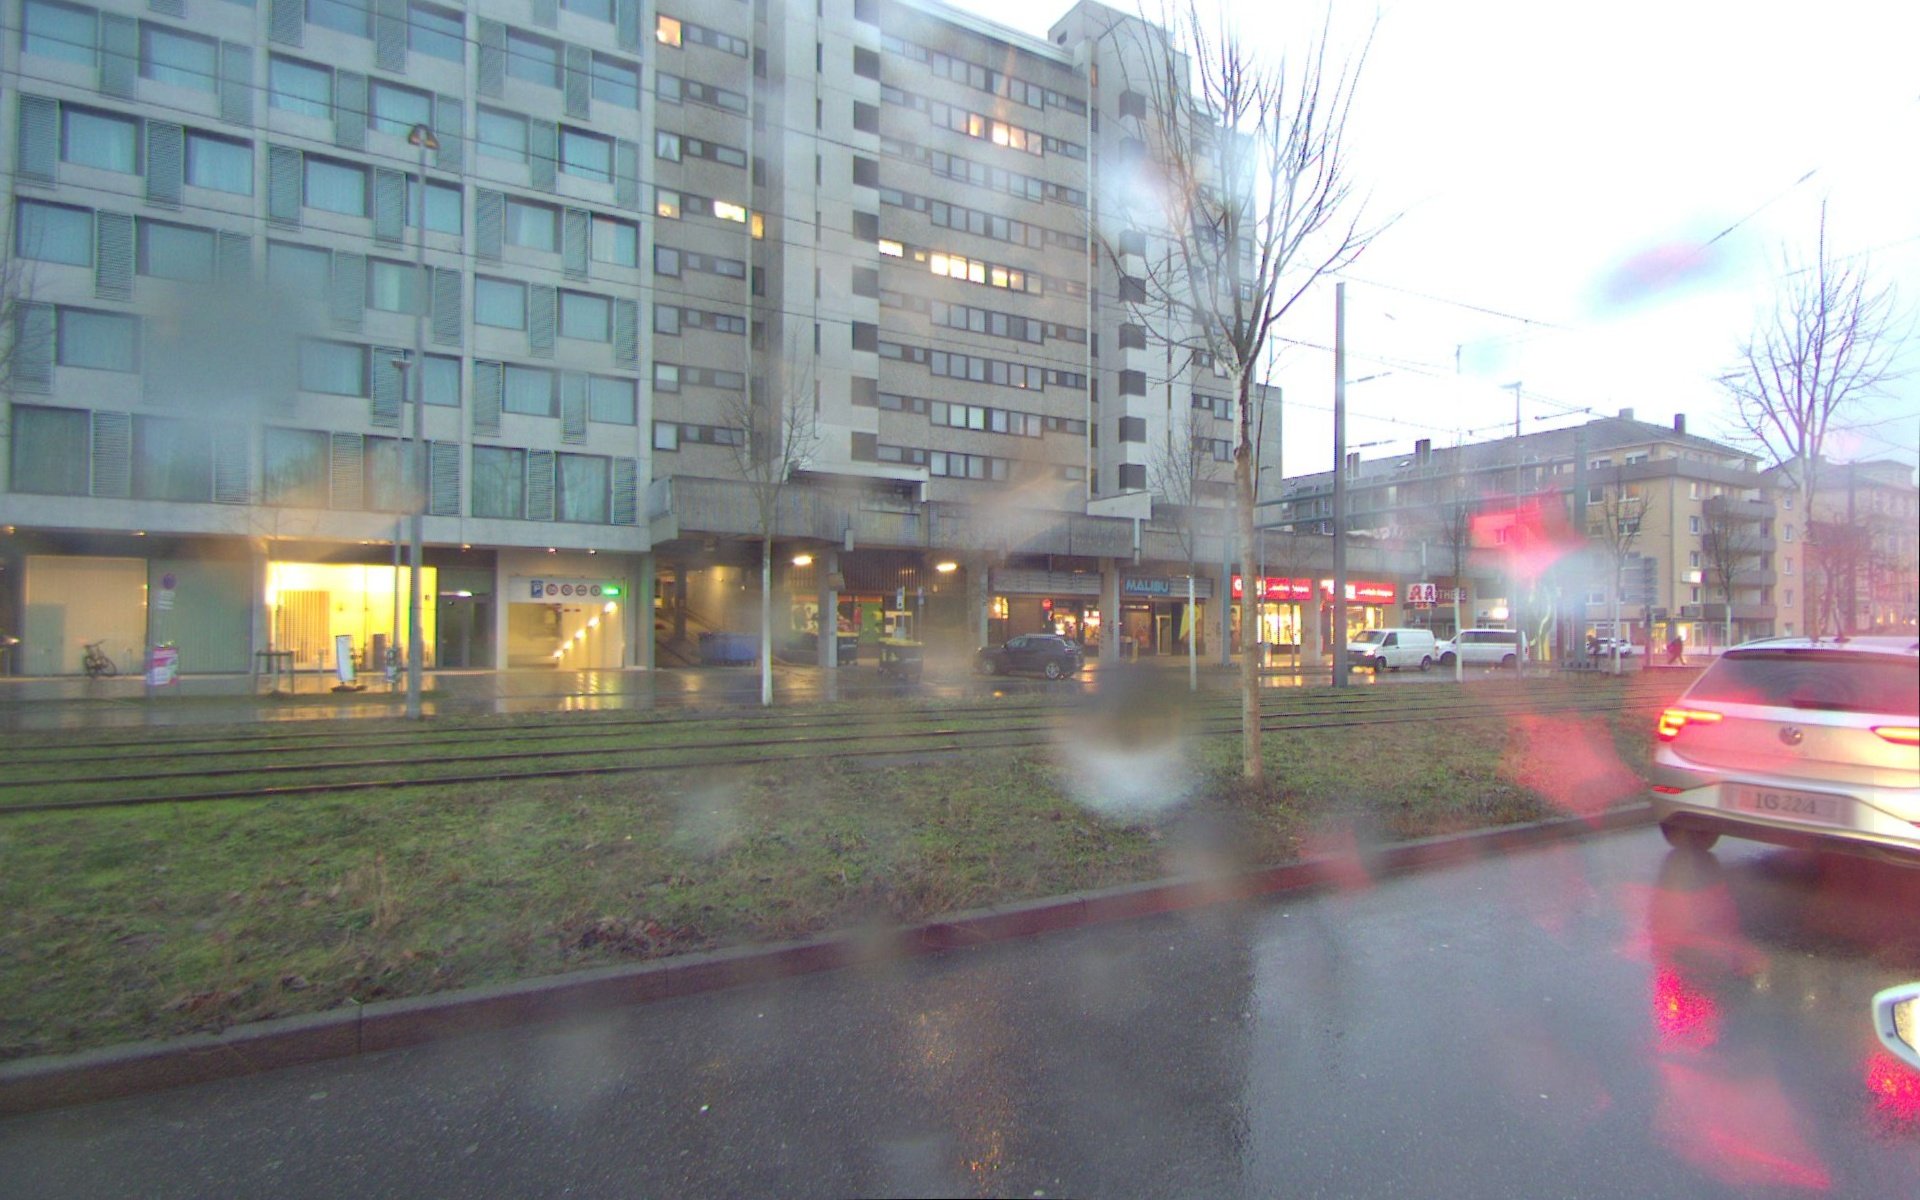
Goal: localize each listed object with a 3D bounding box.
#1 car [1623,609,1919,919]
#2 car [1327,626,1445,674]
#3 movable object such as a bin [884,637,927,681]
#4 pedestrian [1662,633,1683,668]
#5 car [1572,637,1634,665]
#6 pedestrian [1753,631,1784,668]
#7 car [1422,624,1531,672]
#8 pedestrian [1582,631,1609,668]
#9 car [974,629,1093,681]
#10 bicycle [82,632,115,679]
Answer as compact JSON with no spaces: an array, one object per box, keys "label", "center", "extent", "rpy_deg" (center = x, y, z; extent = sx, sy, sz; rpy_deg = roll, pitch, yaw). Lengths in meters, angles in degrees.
[{"label":"car","center":[6.259,0.867,6.560],"extent":[3.954,1.554,1.684],"rpy_deg":[1,-1,-31]},{"label":"car","center":[20.037,2.338,47.219],"extent":[5.491,2.073,1.987],"rpy_deg":[2,0,-26]},{"label":"movable object such as a bin","center":[-1.904,2.039,35.017],"extent":[1.023,1.445,1.061],"rpy_deg":[2,0,-41]},{"label":"pedestrian","center":[41.123,2.899,57.958],"extent":[0.947,2.040,1.003],"rpy_deg":[-1,-2,38]},{"label":"car","center":[51.208,4.058,80.053],"extent":[1.826,1.968,3.720],"rpy_deg":[2,0,-37]},{"label":"pedestrian","center":[44.473,2.715,55.247],"extent":[1.253,2.040,1.004],"rpy_deg":[-1,-2,36]},{"label":"car","center":[27.131,2.503,52.914],"extent":[4.734,2.274,2.001],"rpy_deg":[2,0,15]},{"label":"pedestrian","center":[35.972,2.800,56.890],"extent":[1.049,2.040,1.008],"rpy_deg":[0,-1,16]},{"label":"car","center":[2.812,2.055,38.340],"extent":[4.066,1.715,1.982],"rpy_deg":[2,0,28]},{"label":"bicycle","center":[-25.164,1.606,29.343],"extent":[0.460,1.255,1.527],"rpy_deg":[2,0,-31]}]
